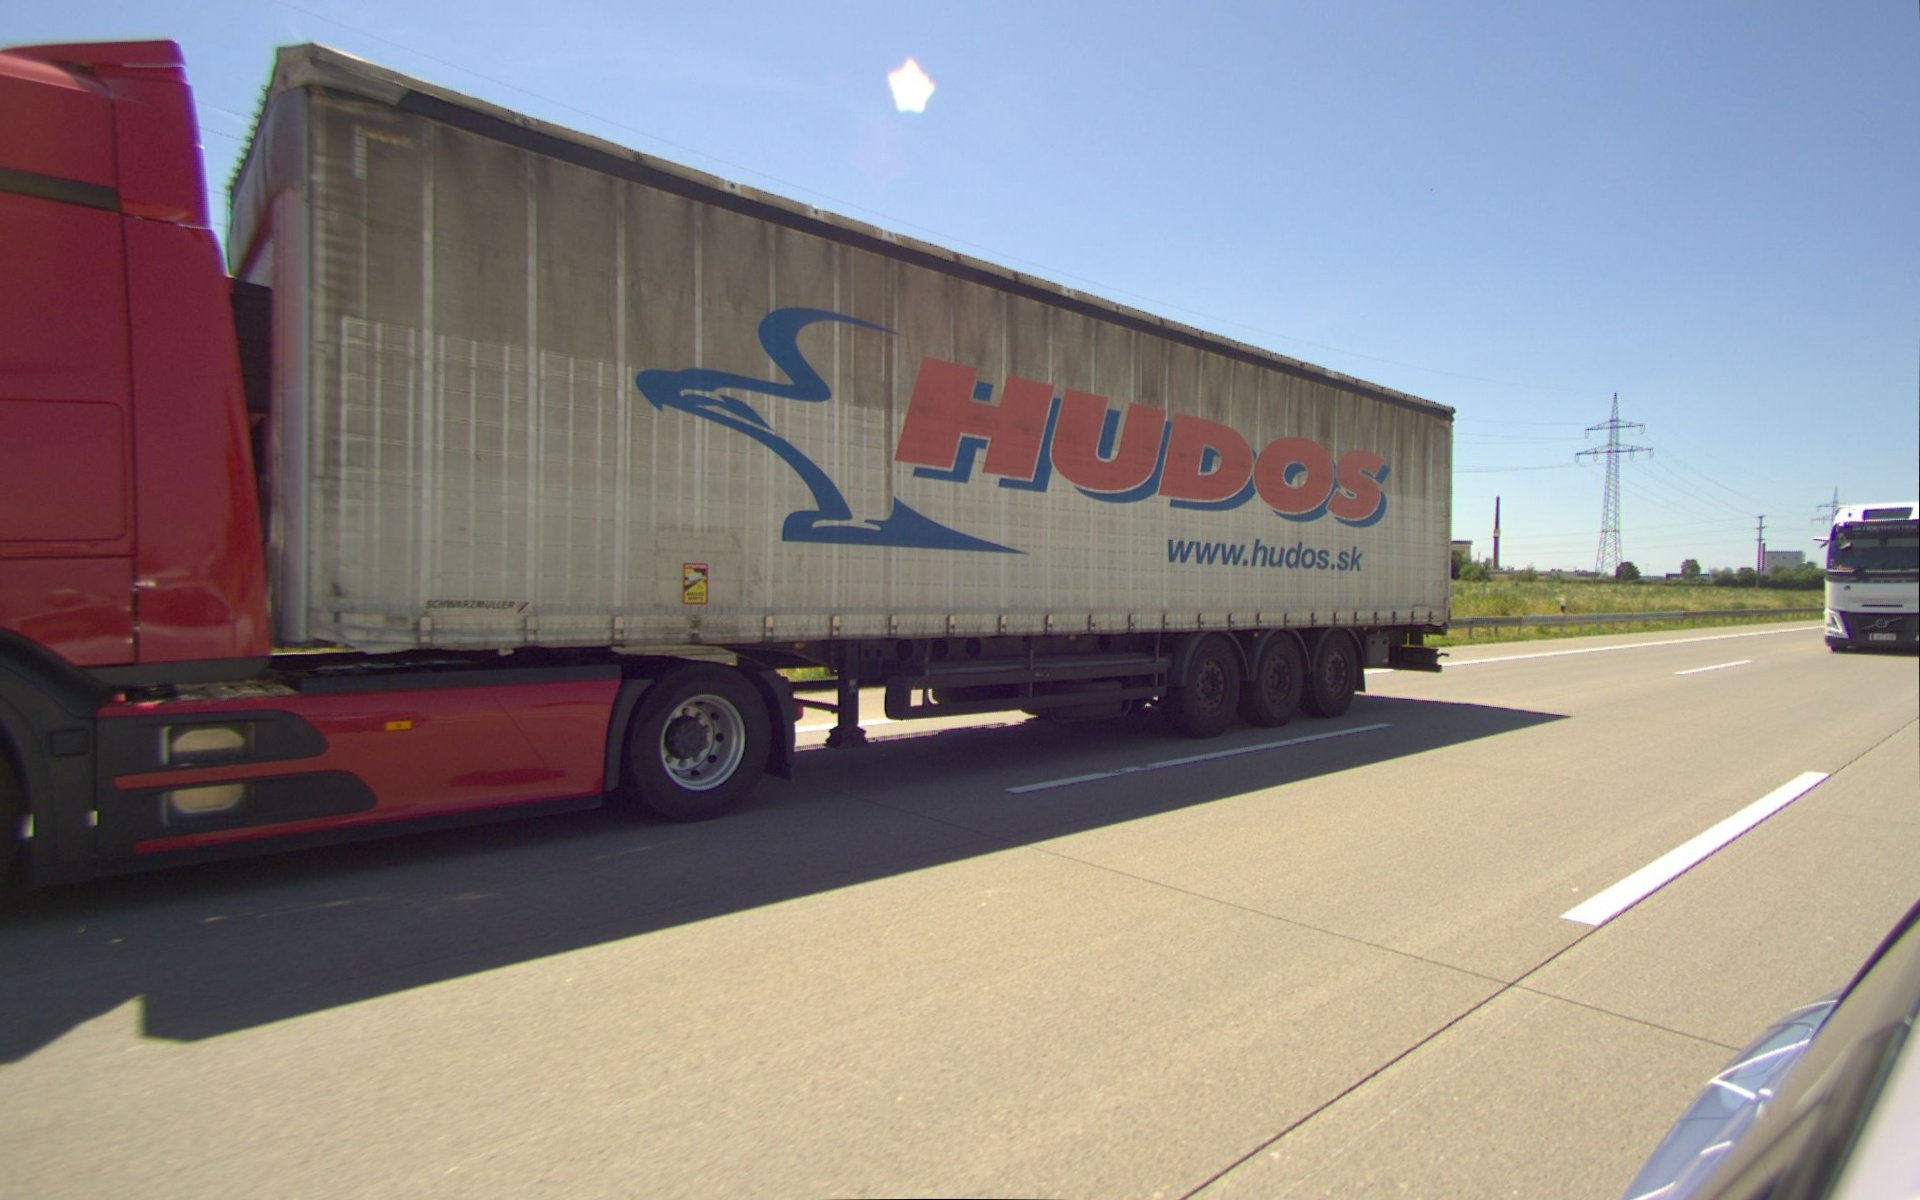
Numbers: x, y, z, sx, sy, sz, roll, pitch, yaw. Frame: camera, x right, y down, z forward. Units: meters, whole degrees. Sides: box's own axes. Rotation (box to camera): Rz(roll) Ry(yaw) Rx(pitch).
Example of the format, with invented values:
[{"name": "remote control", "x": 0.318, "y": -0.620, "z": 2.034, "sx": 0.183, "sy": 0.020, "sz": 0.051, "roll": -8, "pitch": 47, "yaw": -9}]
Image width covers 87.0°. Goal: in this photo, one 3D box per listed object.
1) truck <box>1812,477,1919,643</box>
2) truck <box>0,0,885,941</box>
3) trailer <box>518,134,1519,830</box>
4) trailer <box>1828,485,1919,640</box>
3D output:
[{"name": "truck", "x": 25.498, "y": -1.001, "z": 27.341, "sx": 5.382, "sy": 4.114, "sz": 2.989, "roll": 0, "pitch": 0, "yaw": -41}, {"name": "truck", "x": -3.778, "y": -0.710, "z": 6.115, "sx": 6.163, "sy": 4.153, "sz": 2.910, "roll": 0, "pitch": 0, "yaw": -42}, {"name": "trailer", "x": 2.317, "y": -0.732, "z": 11.542, "sx": 13.278, "sy": 4.152, "sz": 2.878, "roll": 0, "pitch": 0, "yaw": -42}, {"name": "trailer", "x": 30.432, "y": -1.010, "z": 31.660, "sx": 13.959, "sy": 4.112, "sz": 3.023, "roll": 0, "pitch": 0, "yaw": -41}]
